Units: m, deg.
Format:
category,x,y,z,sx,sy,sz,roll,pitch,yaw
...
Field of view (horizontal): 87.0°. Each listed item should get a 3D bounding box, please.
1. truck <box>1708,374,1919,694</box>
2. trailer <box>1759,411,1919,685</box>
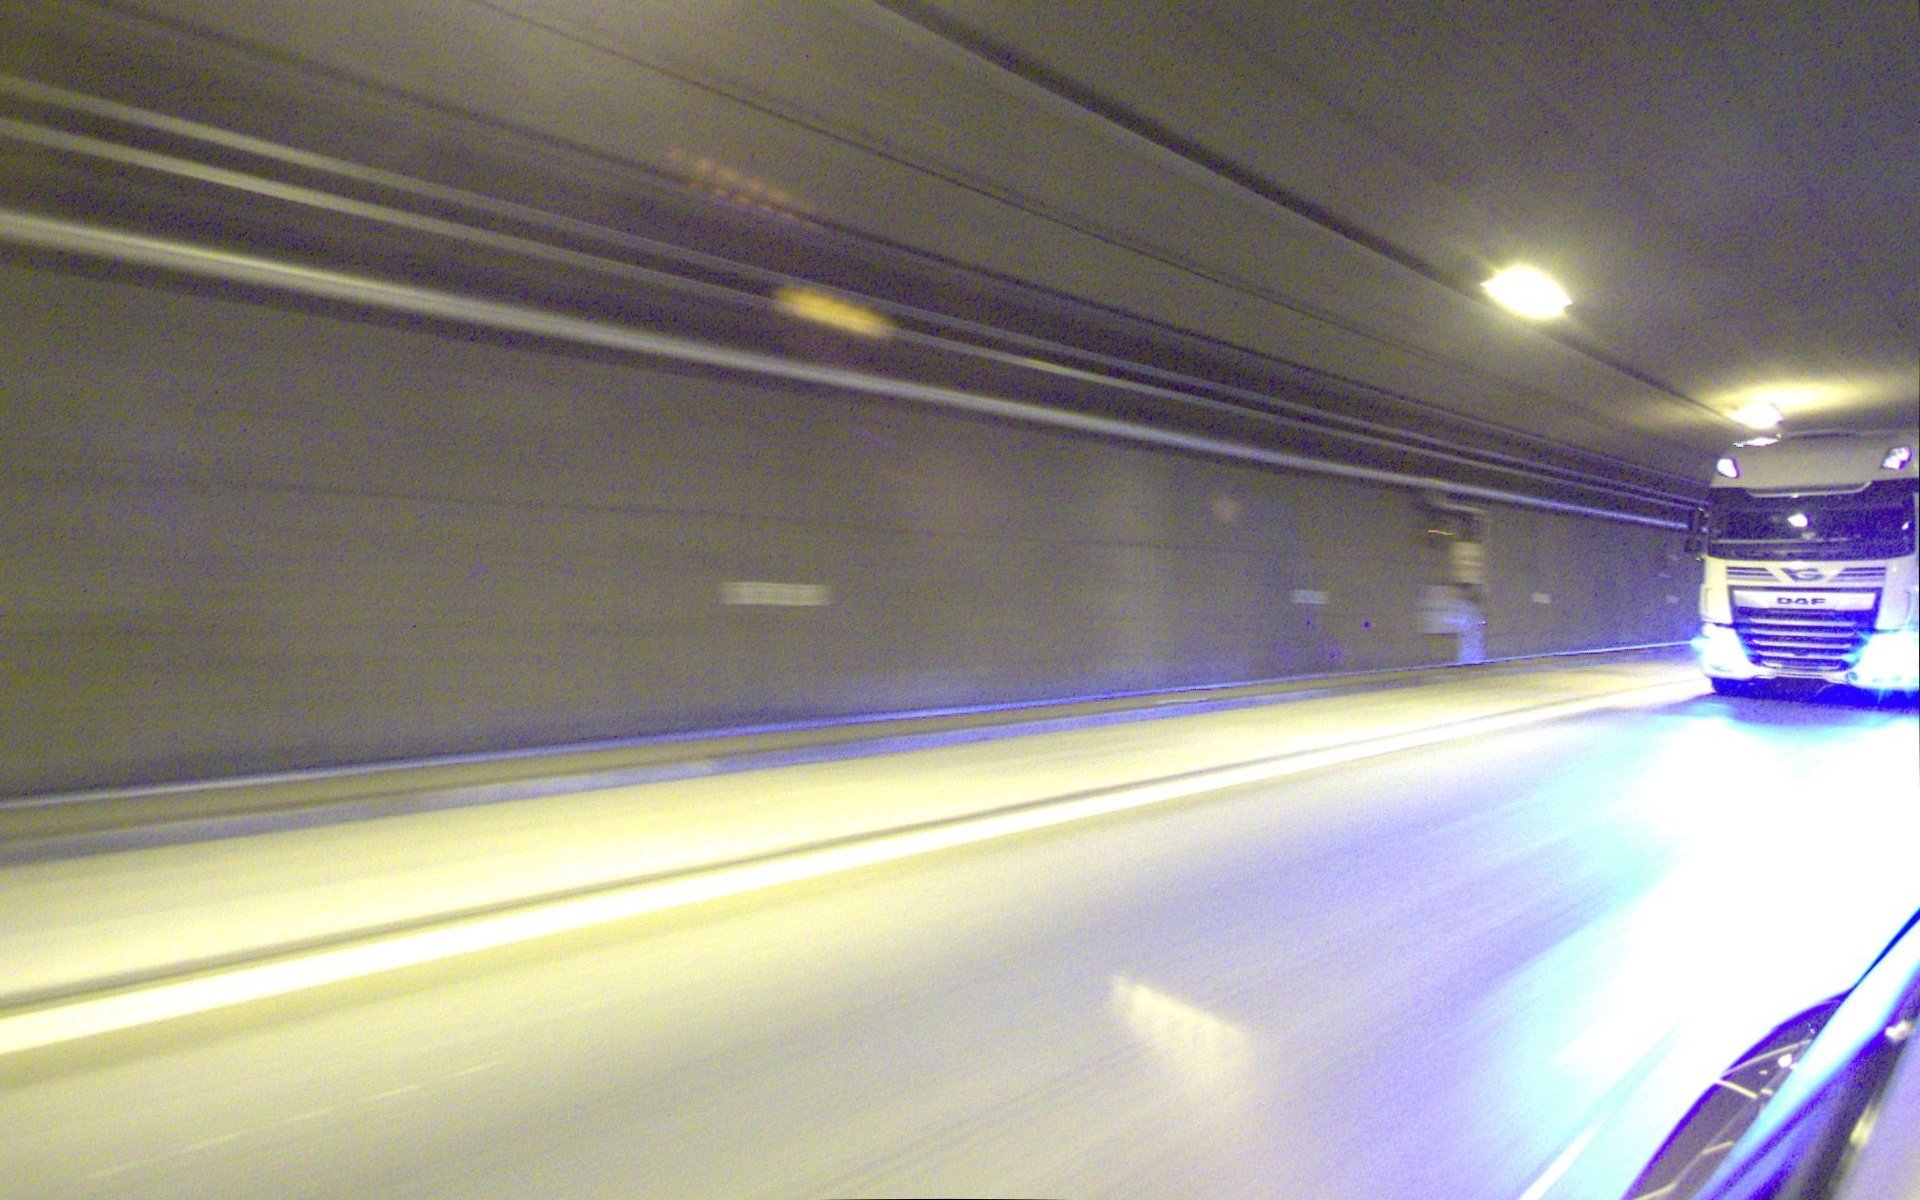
category,x,y,z,sx,sy,sz,roll,pitch,yaw
truck,14.311,-0.893,16.021,5.898,4.216,2.651,0,0,-40
trailer,19.618,-0.831,20.496,13.753,4.216,2.625,0,-1,-40
